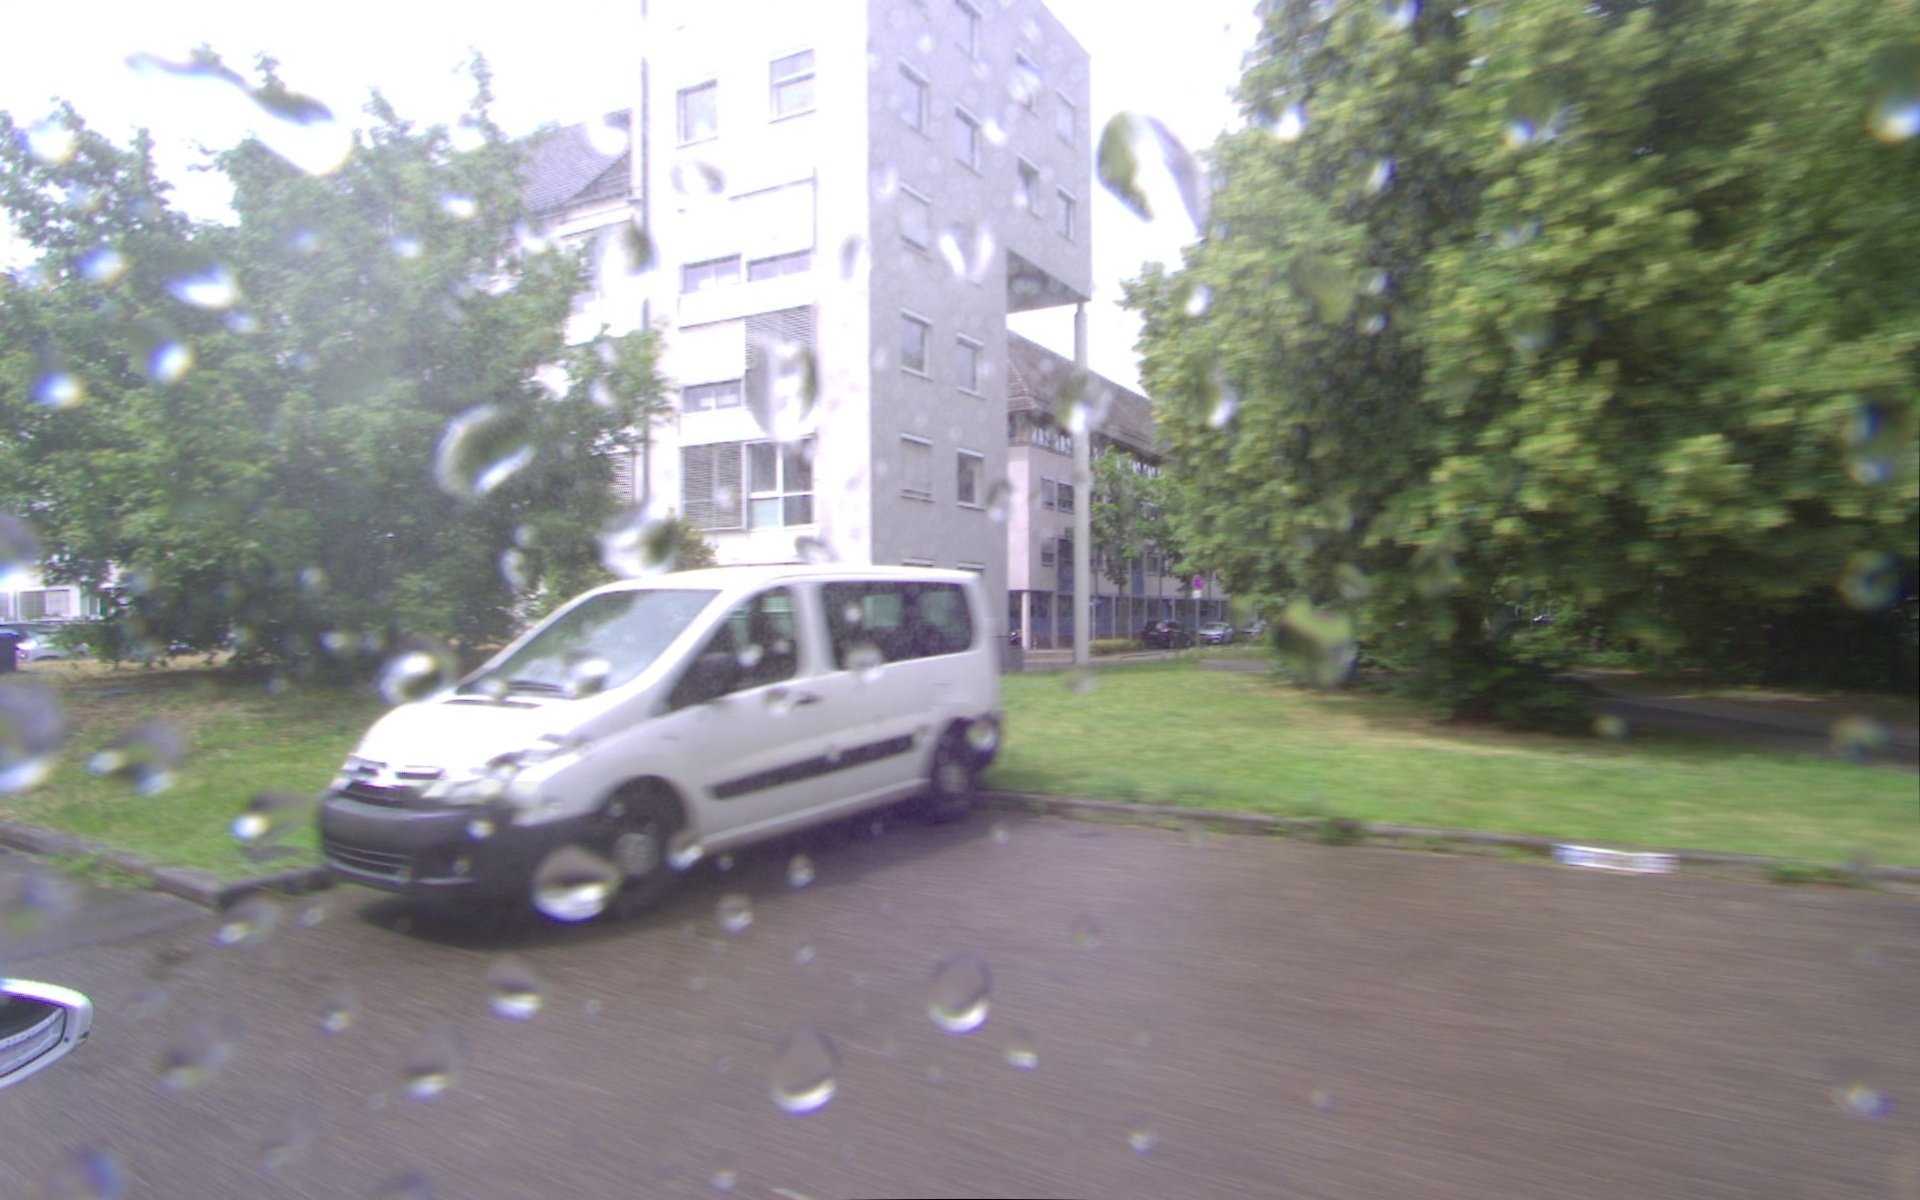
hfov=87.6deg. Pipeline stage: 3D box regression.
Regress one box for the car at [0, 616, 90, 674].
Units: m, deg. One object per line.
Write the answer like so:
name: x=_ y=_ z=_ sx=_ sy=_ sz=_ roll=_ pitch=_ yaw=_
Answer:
car: x=-26.431 y=1.232 z=27.010 sx=1.804 sy=1.475 sz=4.094 roll=0 pitch=1 yaw=28

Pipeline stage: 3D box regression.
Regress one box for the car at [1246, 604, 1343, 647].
car: x=17.033 y=1.289 z=51.012 sx=4.316 sy=2.040 sz=1.991 roll=1 pitch=-1 yaw=32

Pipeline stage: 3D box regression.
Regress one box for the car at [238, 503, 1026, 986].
car: x=-1.668 y=0.658 z=6.819 sx=1.973 sy=2.040 sz=4.923 roll=0 pitch=-1 yaw=35

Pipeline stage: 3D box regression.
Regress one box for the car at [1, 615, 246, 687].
car: x=-19.244 y=1.101 z=23.224 sx=1.765 sy=1.373 sz=3.978 roll=0 pitch=1 yaw=31

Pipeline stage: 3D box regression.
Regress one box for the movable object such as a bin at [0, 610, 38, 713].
movable object such as a bin: x=-14.638 y=0.897 z=14.756 sx=1.085 sy=1.502 sz=1.273 roll=1 pitch=-1 yaw=32

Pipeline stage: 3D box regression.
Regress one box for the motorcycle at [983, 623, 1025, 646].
motorcycle: x=2.295 y=1.794 z=52.603 sx=2.124 sy=1.158 sz=0.415 roll=2 pitch=0 yaw=-4

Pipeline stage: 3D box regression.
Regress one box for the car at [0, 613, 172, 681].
car: x=-21.989 y=1.112 z=24.379 sx=1.642 sy=1.477 sz=4.076 roll=-1 pitch=0 yaw=28

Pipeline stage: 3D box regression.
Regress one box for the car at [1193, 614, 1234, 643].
car: x=16.958 y=1.900 z=66.839 sx=1.899 sy=1.837 sz=4.132 roll=1 pitch=-1 yaw=25

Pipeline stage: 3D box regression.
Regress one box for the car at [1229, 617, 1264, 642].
car: x=21.543 y=2.222 z=75.282 sx=1.899 sy=1.837 sz=4.132 roll=1 pitch=-1 yaw=25

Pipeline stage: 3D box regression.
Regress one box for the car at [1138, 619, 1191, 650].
car: x=11.991 y=2.032 z=58.554 sx=1.759 sy=1.731 sz=3.964 roll=1 pitch=-1 yaw=31

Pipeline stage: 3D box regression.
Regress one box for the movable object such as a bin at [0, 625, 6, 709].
movable object such as a bin: x=-16.060 y=1.065 z=15.808 sx=1.040 sy=1.335 sz=1.227 roll=1 pitch=1 yaw=32

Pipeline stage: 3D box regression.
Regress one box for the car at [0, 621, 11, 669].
car: x=-29.757 y=1.345 z=28.080 sx=1.908 sy=1.420 sz=4.169 roll=-1 pitch=0 yaw=25
